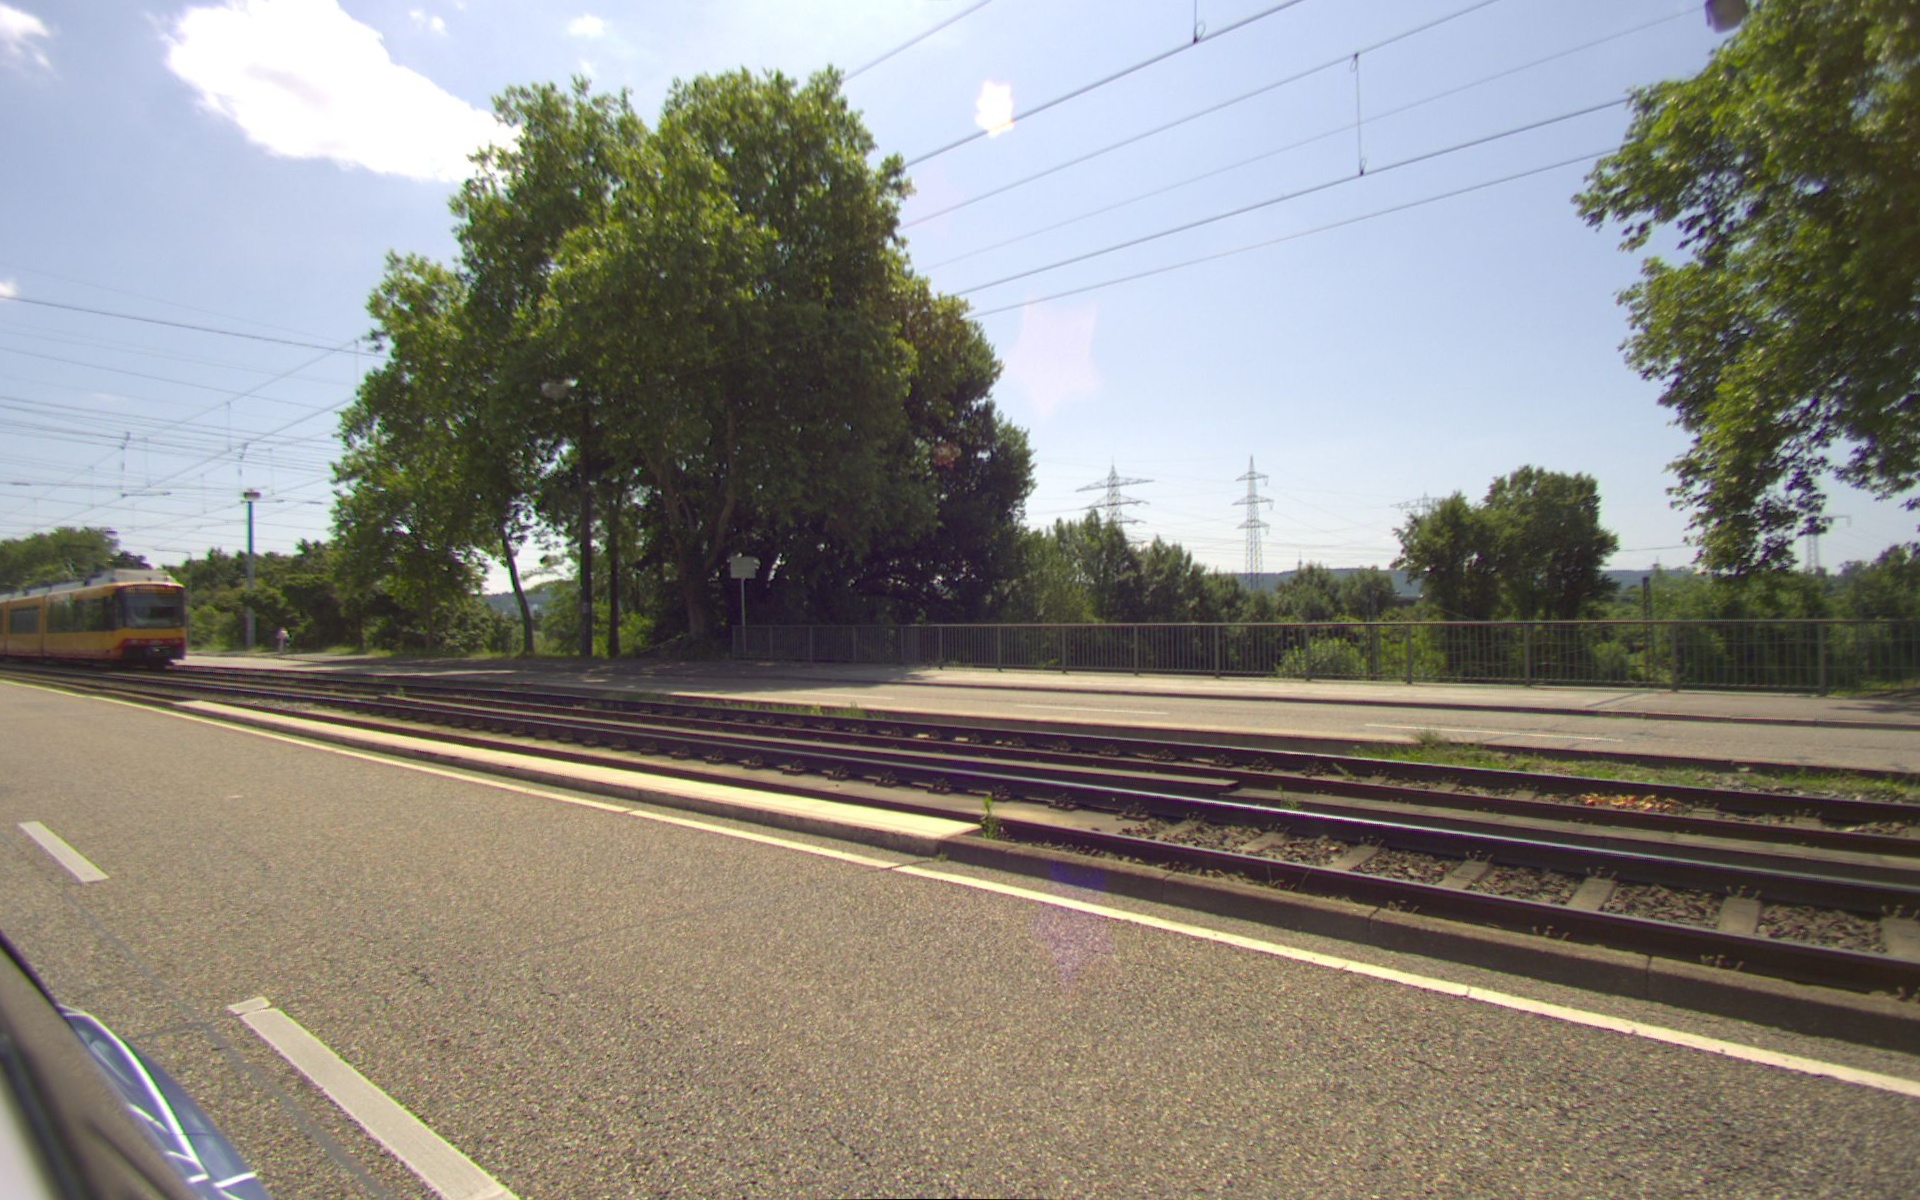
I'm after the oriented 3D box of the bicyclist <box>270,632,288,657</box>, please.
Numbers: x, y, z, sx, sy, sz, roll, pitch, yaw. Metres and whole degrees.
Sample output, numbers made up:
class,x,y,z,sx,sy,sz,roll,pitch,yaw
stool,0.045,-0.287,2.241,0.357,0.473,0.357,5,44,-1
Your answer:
class,x,y,z,sx,sy,sz,roll,pitch,yaw
bicyclist,-42.251,2.746,62.825,0.918,1.495,0.703,-2,-1,40

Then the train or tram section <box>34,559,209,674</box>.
class,x,y,z,sx,sy,sz,roll,pitch,yaw
train or tram section,-35.515,0.837,42.546,13.966,4.172,3.008,-2,-3,39

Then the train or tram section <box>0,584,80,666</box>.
class,x,y,z,sx,sy,sz,roll,pitch,yaw
train or tram section,-52.929,1.488,56.758,13.466,4.186,3.008,-2,-3,39

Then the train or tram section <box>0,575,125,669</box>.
class,x,y,z,sx,sy,sz,roll,pitch,yaw
train or tram section,-44.224,1.169,49.688,10.221,4.180,3.008,-2,-3,39

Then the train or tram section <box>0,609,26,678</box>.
class,x,y,z,sx,sy,sz,roll,pitch,yaw
train or tram section,-64.895,2.905,66.689,14.021,4.300,3.018,-2,-2,39

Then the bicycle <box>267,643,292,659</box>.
class,x,y,z,sx,sy,sz,roll,pitch,yaw
bicycle,-42.239,3.155,62.817,2.181,0.924,0.703,-2,-1,40
